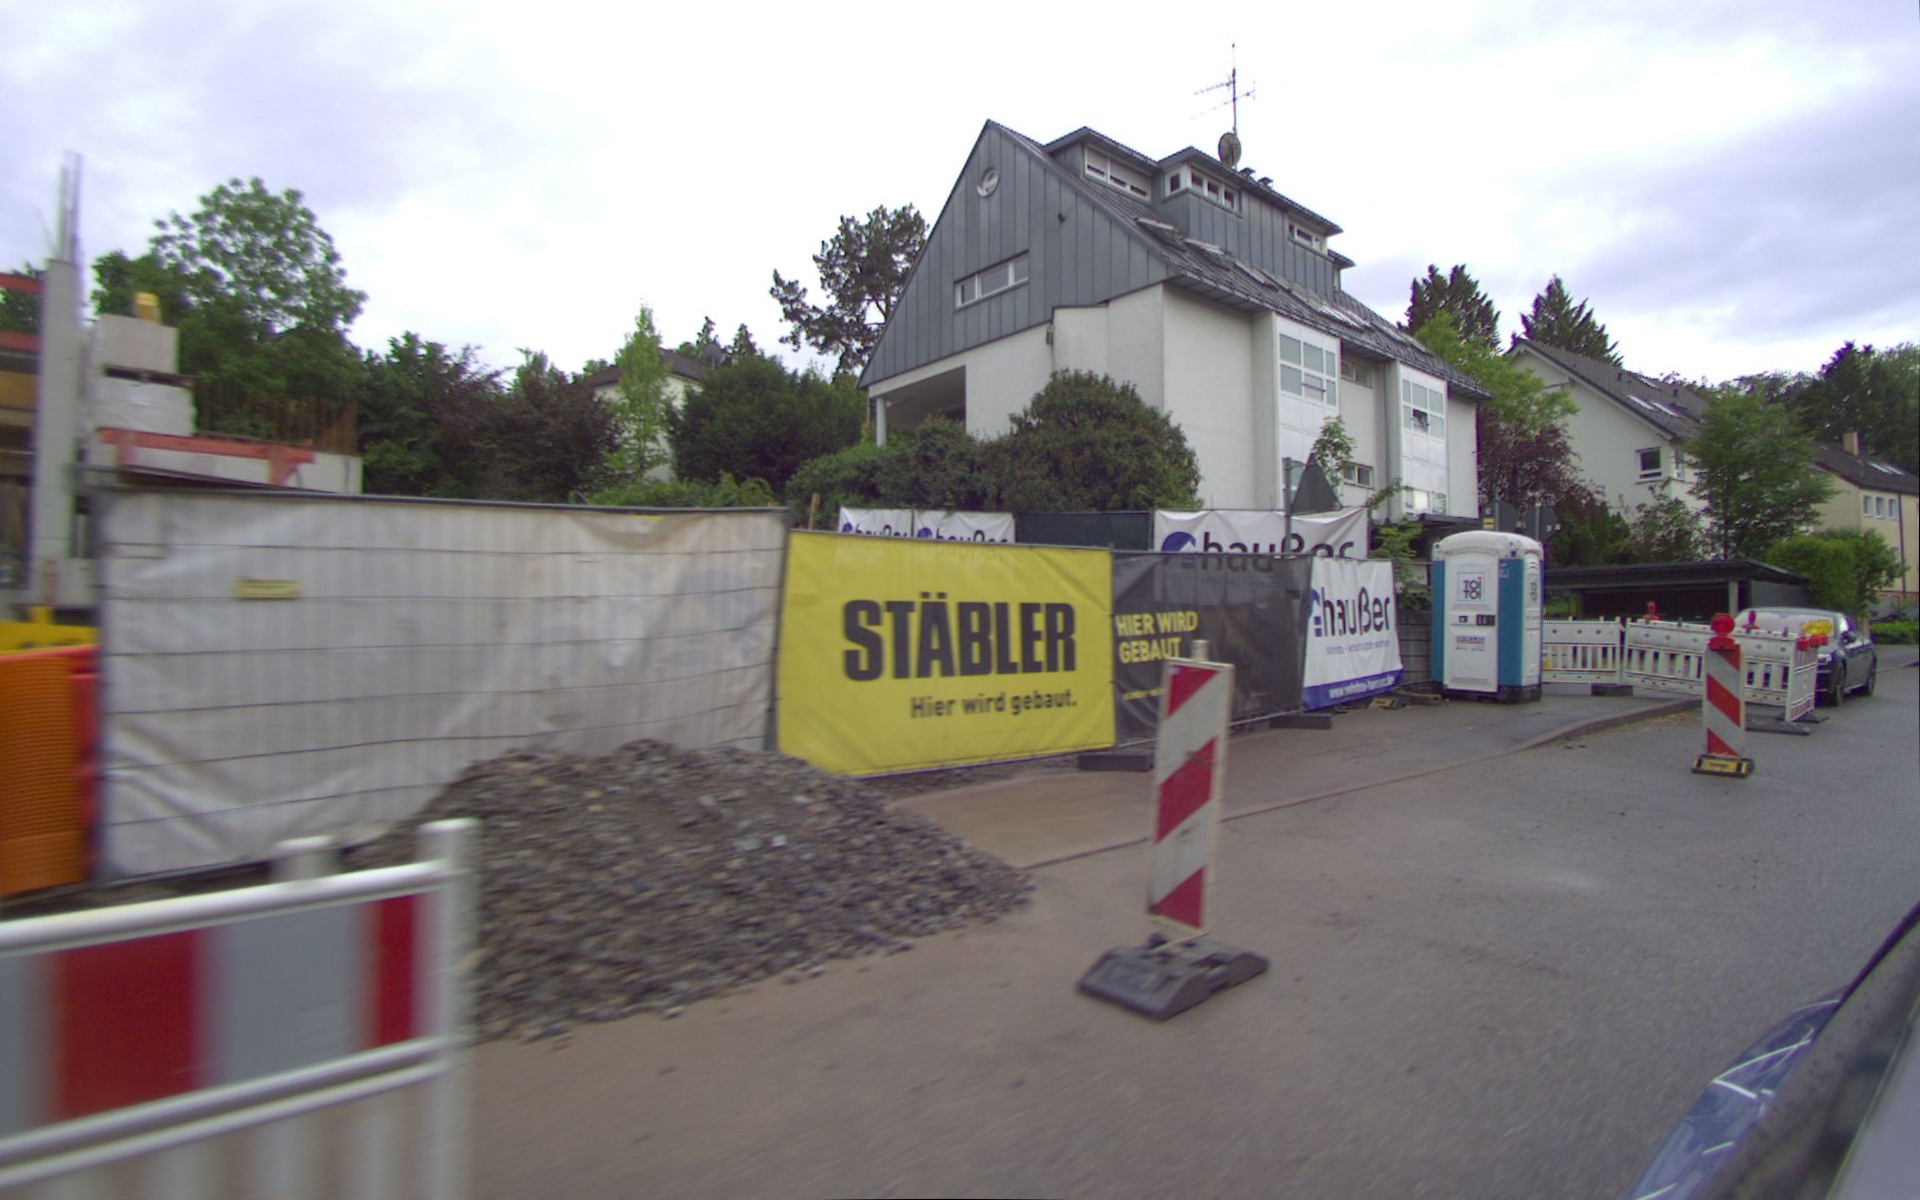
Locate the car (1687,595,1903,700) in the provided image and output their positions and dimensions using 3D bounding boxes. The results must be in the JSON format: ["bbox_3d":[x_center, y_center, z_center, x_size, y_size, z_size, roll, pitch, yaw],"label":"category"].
[{"bbox_3d":[13.509,0.654,16.265,4.752,1.440,1.935,0,0,-41],"label":"car"}]

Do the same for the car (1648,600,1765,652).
[{"bbox_3d":[21.935,0.756,29.695,3.927,1.415,1.738,0,-3,-39],"label":"car"}]

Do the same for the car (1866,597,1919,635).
[{"bbox_3d":[43.036,0.631,44.469,1.953,1.617,4.341,0,-4,-33],"label":"car"}]
